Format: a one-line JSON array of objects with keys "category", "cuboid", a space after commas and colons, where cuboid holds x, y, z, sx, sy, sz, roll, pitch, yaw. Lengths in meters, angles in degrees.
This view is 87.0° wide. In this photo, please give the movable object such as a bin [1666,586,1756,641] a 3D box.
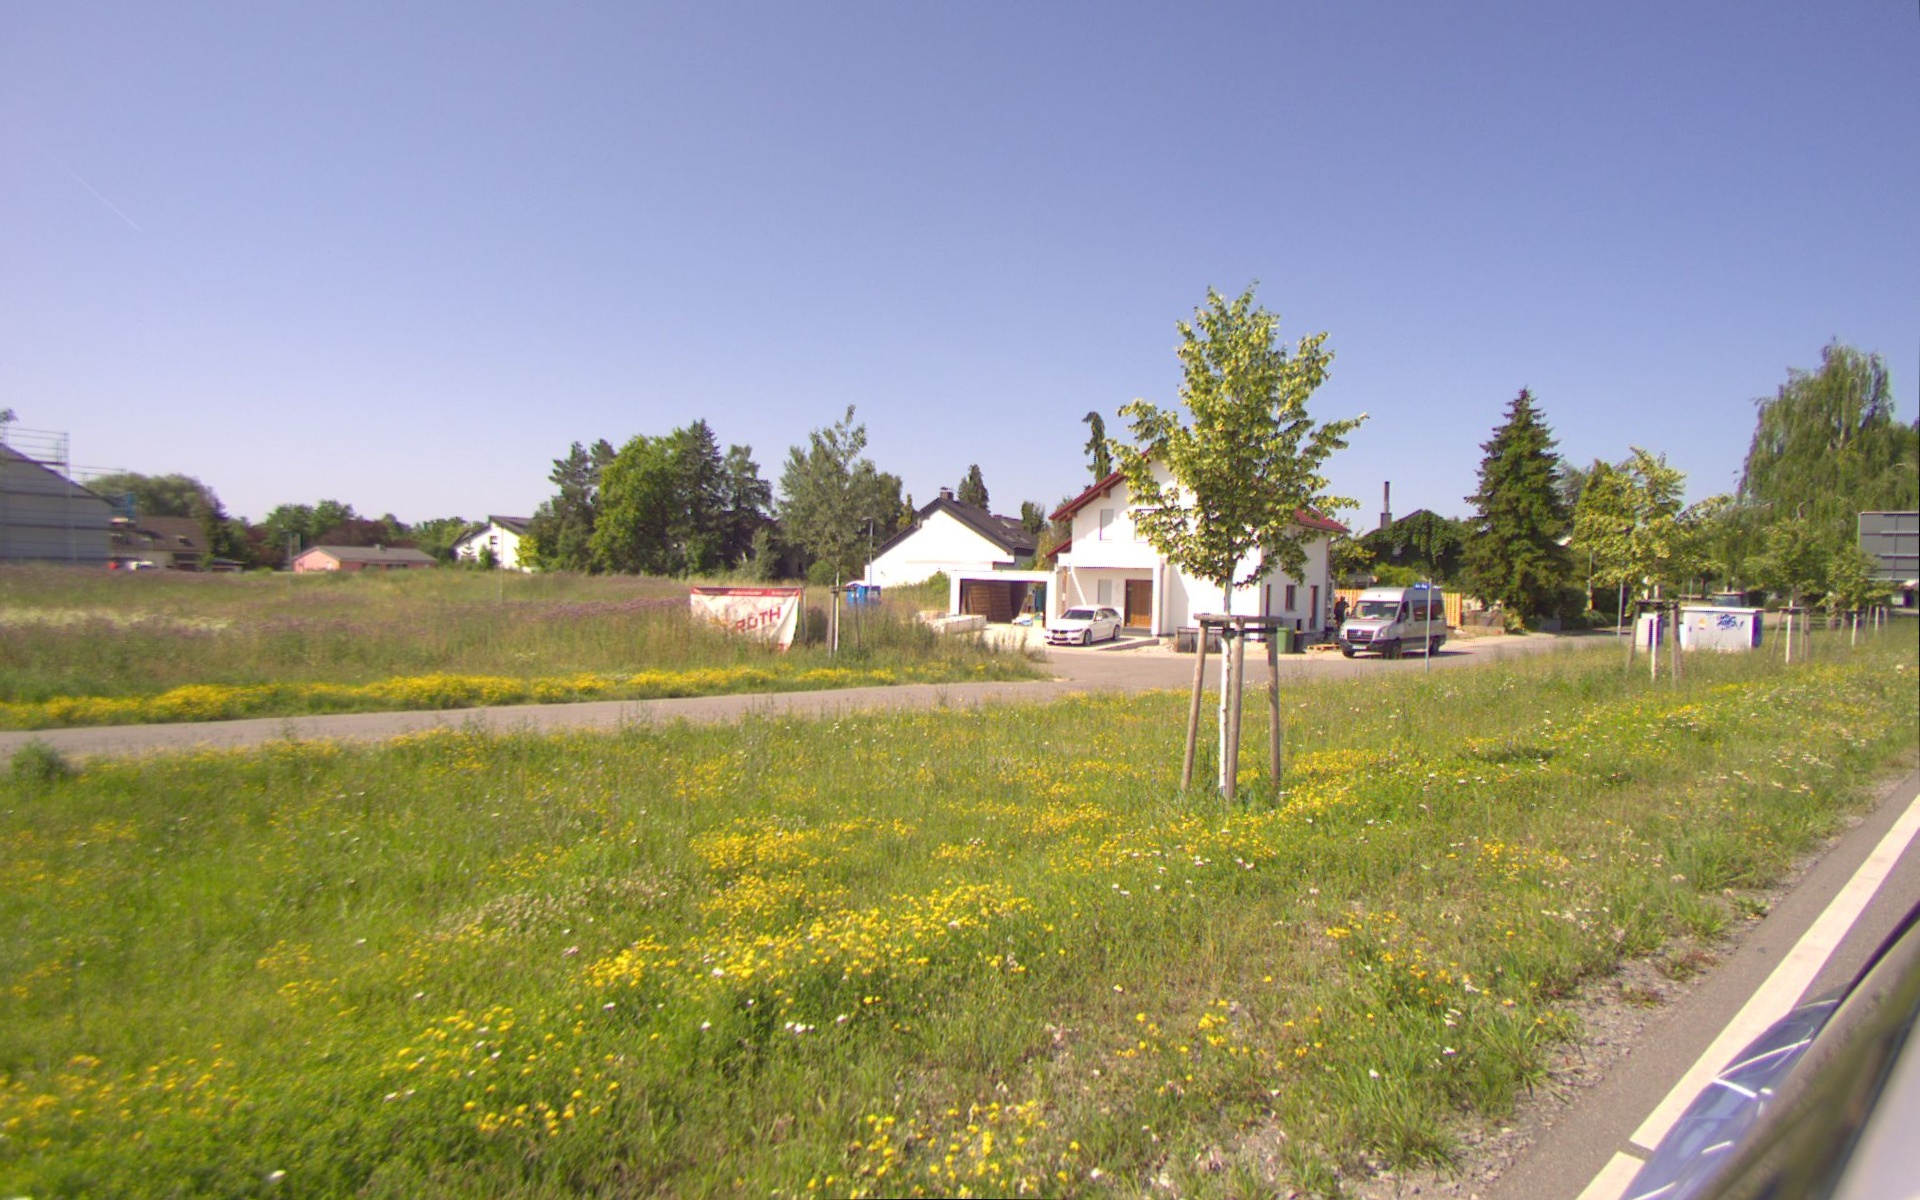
[{"category": "movable object such as a bin", "cuboid": [36.644, 0.562, 49.282, 6.828, 2.494, 2.319, -1, 1, -43]}]

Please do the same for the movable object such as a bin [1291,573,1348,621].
[{"category": "movable object such as a bin", "cuboid": [20.396, -0.188, 57.498, 2.837, 2.589, 1.779, 1, 0, 15]}]

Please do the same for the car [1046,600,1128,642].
[{"category": "car", "cuboid": [5.159, 0.797, 40.674, 1.552, 1.577, 4.435, 0, 0, 33]}]

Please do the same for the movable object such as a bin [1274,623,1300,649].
[{"category": "movable object such as a bin", "cuboid": [12.292, 1.350, 38.021, 0.627, 0.949, 0.694, 1, 1, -38]}]

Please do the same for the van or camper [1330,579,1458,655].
[{"category": "van or camper", "cuboid": [16.379, 0.550, 38.052, 5.928, 2.633, 2.175, -1, 1, -42]}]

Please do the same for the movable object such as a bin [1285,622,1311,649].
[{"category": "movable object such as a bin", "cuboid": [12.824, 1.342, 38.445, 0.627, 0.949, 0.694, 1, 1, -38]}]
